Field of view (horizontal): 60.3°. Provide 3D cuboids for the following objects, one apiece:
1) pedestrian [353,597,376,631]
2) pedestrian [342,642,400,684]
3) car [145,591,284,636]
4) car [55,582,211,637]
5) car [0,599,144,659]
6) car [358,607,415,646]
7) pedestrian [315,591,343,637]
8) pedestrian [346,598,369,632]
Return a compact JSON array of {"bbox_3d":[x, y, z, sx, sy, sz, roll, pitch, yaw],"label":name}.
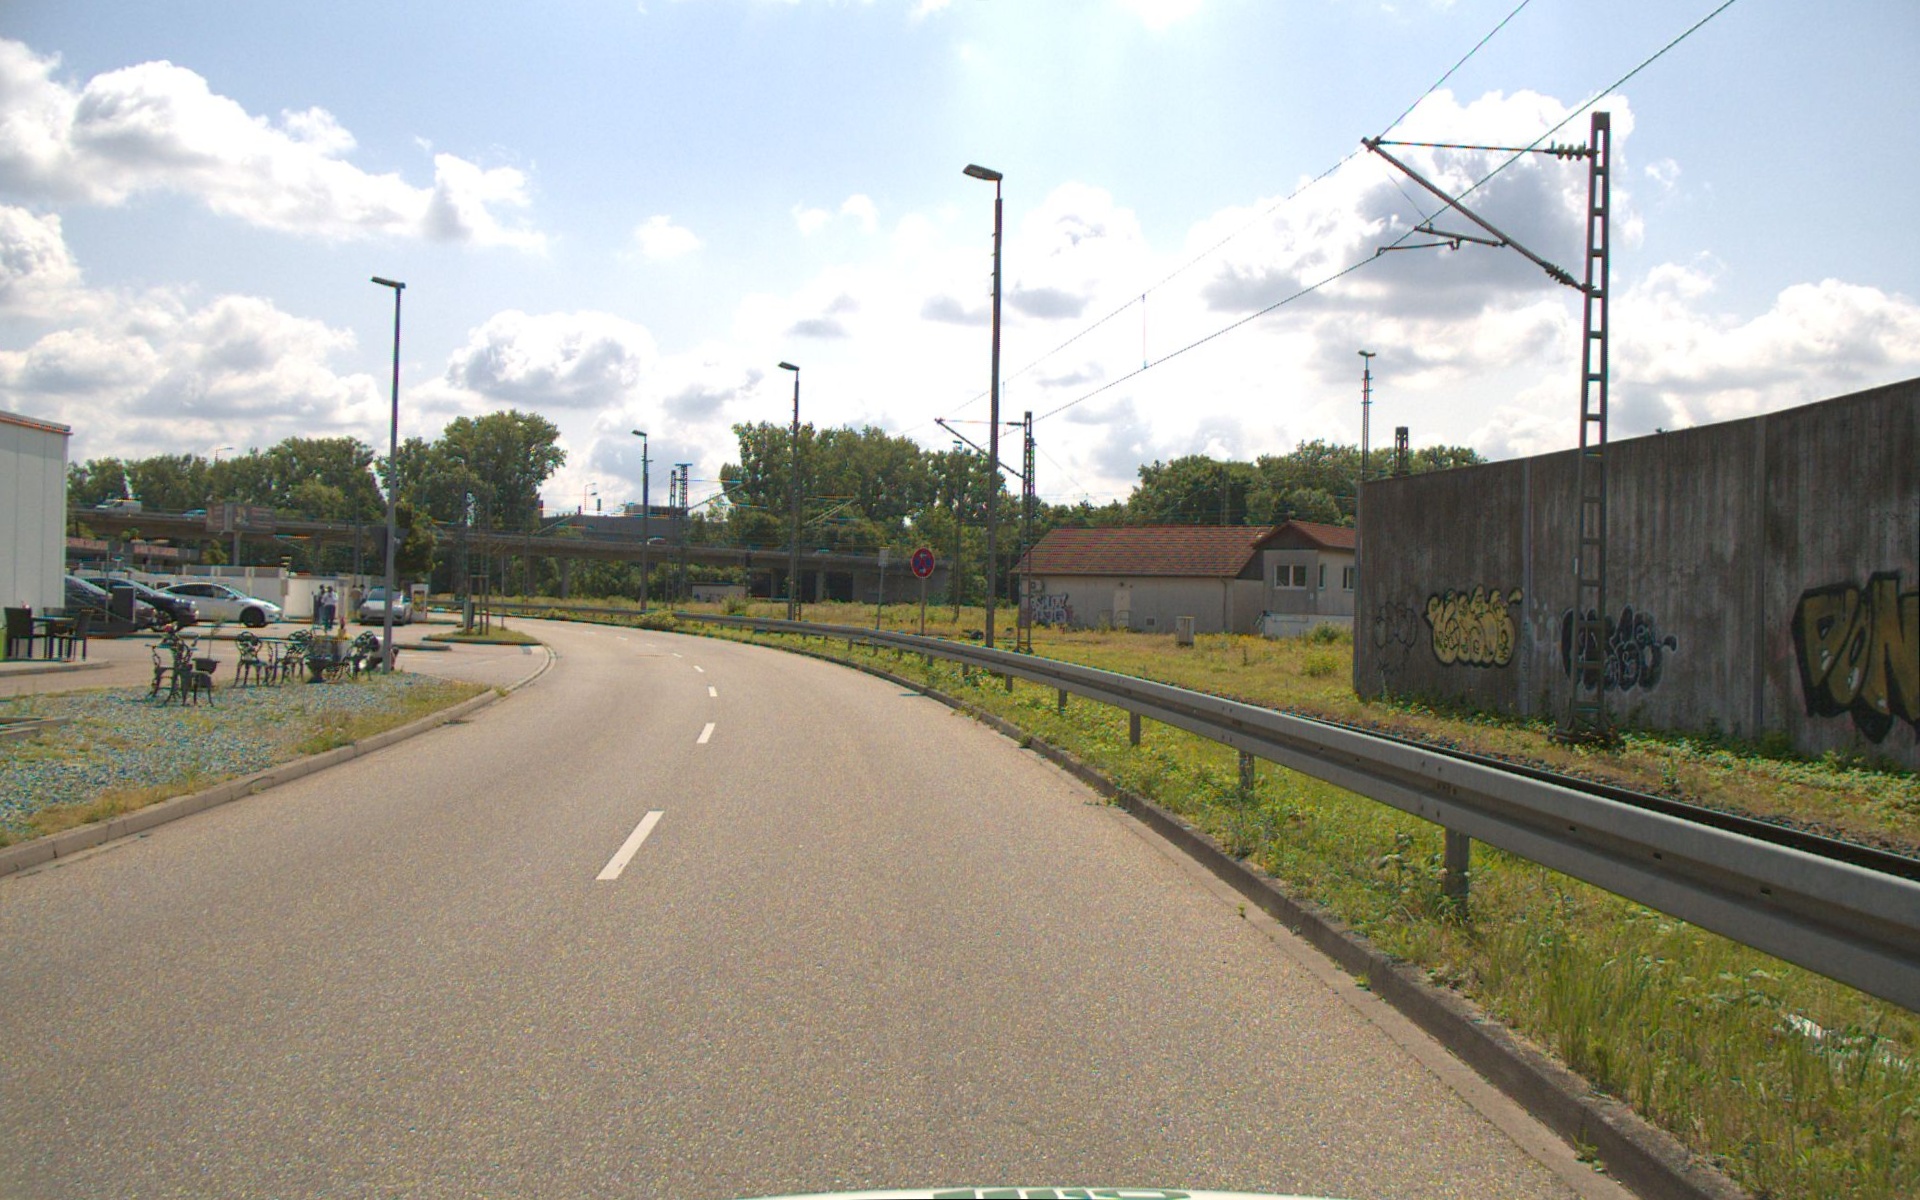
[{"bbox_3d":[-28.322,0.681,78.707,0.697,1.607,0.721,0,-1,24],"label":"pedestrian"},{"bbox_3d":[-11.402,1.215,32.056,0.845,0.773,0.817,2,-2,-6],"label":"pedestrian"},{"bbox_3d":[-28.145,0.517,62.591,4.477,1.551,1.991,2,-1,-16],"label":"car"},{"bbox_3d":[-25.562,0.305,51.272,3.920,1.546,1.992,2,-1,-15],"label":"car"},{"bbox_3d":[-24.904,0.762,44.727,4.668,1.481,2.228,2,0,-16],"label":"car"},{"bbox_3d":[-26.227,1.197,75.745,1.897,1.544,4.760,2,1,-13],"label":"car"},{"bbox_3d":[-23.800,0.533,62.416,0.848,1.682,0.937,2,-1,-16],"label":"pedestrian"},{"bbox_3d":[-28.859,0.723,79.268,0.743,1.593,0.711,0,-1,32],"label":"pedestrian"}]
